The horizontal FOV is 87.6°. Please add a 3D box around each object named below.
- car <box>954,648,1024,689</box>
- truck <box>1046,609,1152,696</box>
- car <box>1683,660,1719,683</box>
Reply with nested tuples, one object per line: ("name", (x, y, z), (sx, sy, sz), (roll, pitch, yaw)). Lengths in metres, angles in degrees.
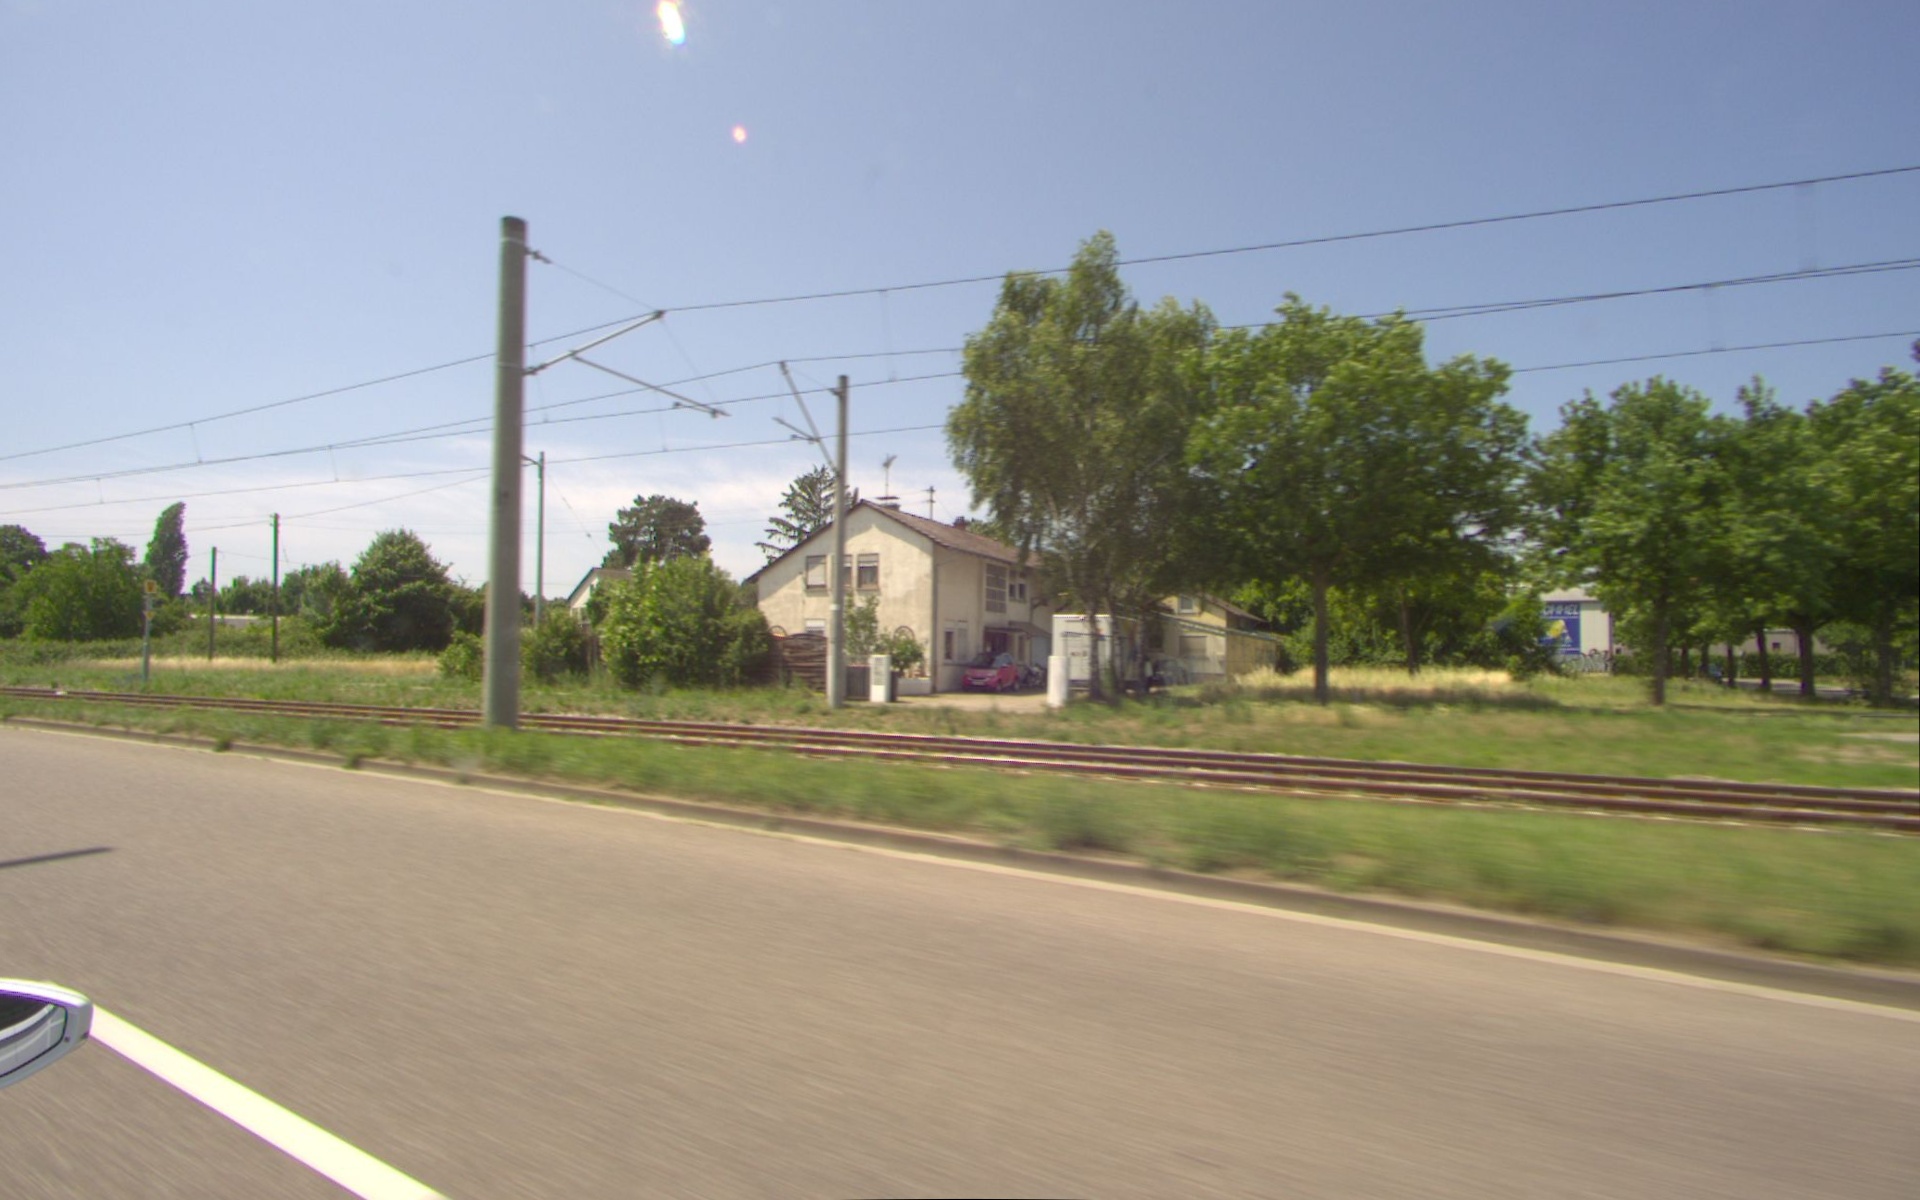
("car", (1.199, 2.694, 39.553), (1.654, 1.528, 3.439), (0, -3, 22))
("truck", (5.163, 1.849, 36.341), (2.282, 2.879, 5.845), (-1, -2, 24))
("car", (69.486, 6.700, 94.007), (1.968, 2.037, 3.992), (-1, -5, 26))
